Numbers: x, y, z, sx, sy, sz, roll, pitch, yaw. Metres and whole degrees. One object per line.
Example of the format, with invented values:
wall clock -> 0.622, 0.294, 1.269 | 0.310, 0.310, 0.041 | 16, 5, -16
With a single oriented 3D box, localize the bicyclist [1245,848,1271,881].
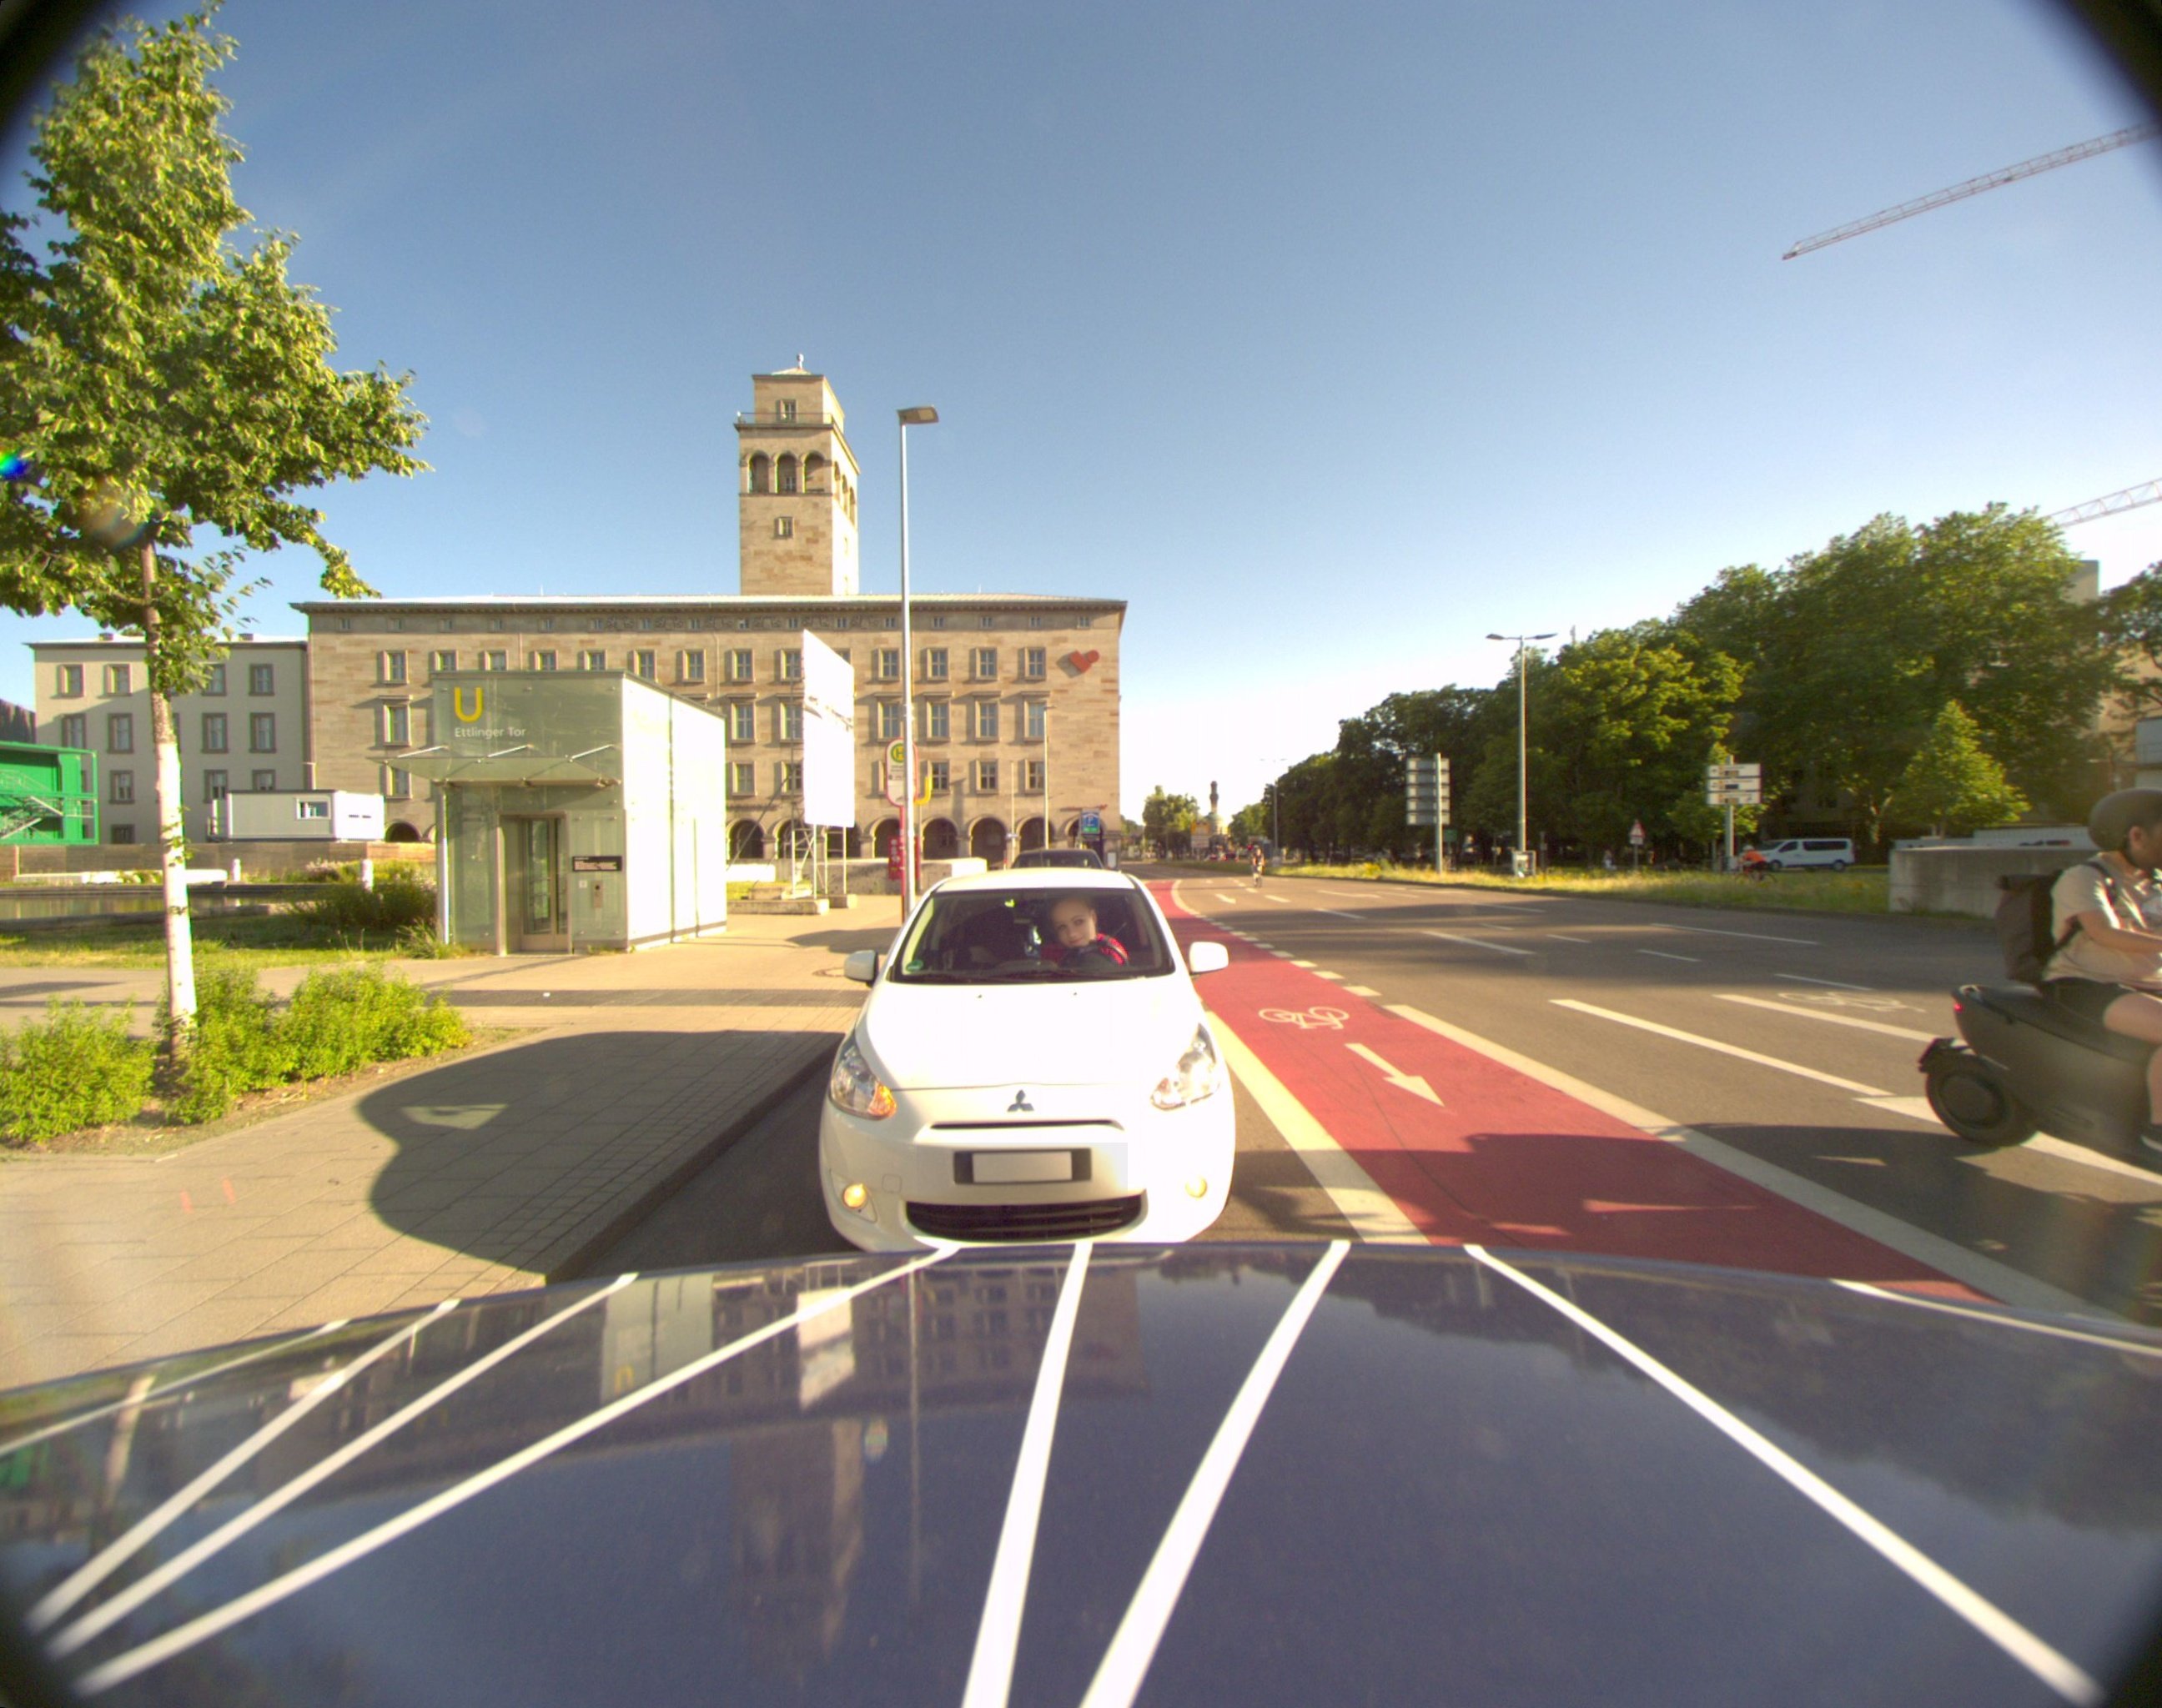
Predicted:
bicyclist -> 7.471, 0.444, 32.115 | 0.854, 1.340, 0.829 | -2, 1, 1

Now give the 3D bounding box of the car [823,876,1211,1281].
car -> -0.231, 0.952, 4.840 | 1.496, 1.477, 3.604 | -2, 0, 1

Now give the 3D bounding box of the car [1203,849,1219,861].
car -> 20.592, 0.099, 120.440 | 1.747, 1.778, 3.947 | -2, 1, 1

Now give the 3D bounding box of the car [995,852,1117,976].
car -> -0.371, 0.837, 12.520 | 1.642, 1.653, 3.849 | -2, 0, -1

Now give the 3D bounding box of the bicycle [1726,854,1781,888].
bicycle -> 24.242, 0.585, 27.430 | 0.497, 1.148, 1.650 | -2, 1, -1

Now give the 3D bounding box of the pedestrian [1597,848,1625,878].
pedestrian -> 33.379, 0.562, 47.861 | 0.989, 1.821, 1.019 | -2, 1, -1

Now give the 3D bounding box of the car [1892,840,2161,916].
car -> 22.011, 0.487, 17.881 | 1.658, 1.576, 3.897 | -1, 1, -1

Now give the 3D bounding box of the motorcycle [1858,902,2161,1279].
motorcycle -> 4.286, 0.897, 2.886 | 0.724, 1.286, 1.884 | -2, 0, 1

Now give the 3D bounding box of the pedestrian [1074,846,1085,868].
pedestrian -> -0.160, 0.392, 89.804 | 1.122, 2.524, 1.055 | -2, 1, 1

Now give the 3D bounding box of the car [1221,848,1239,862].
car -> 21.598, 0.103, 110.261 | 1.819, 1.817, 3.999 | -2, 1, 1

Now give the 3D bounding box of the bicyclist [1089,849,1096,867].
bicyclist -> 1.092, 0.382, 71.726 | 0.540, 1.743, 0.732 | -2, 1, 5

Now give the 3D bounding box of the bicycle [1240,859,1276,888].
bicycle -> 7.479, 0.793, 32.198 | 0.854, 1.109, 2.808 | -2, 0, 1

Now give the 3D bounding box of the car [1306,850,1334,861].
car -> 43.855, 0.210, 139.355 | 4.581, 1.827, 1.878 | -2, 1, 3

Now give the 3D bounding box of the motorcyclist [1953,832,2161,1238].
motorcyclist -> 4.278, 0.653, 2.939 | 0.727, 1.466, 0.917 | -2, 0, 1

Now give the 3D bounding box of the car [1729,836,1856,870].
car -> 42.137, -0.061, 45.110 | 5.516, 1.924, 2.065 | -1, 1, 2

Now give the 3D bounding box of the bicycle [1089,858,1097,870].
bicycle -> 1.127, 0.922, 71.814 | 0.532, 1.103, 1.625 | -2, 0, 7

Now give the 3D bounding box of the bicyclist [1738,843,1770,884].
bicyclist -> 24.232, 0.333, 27.364 | 0.497, 1.429, 0.713 | -2, 1, -1
